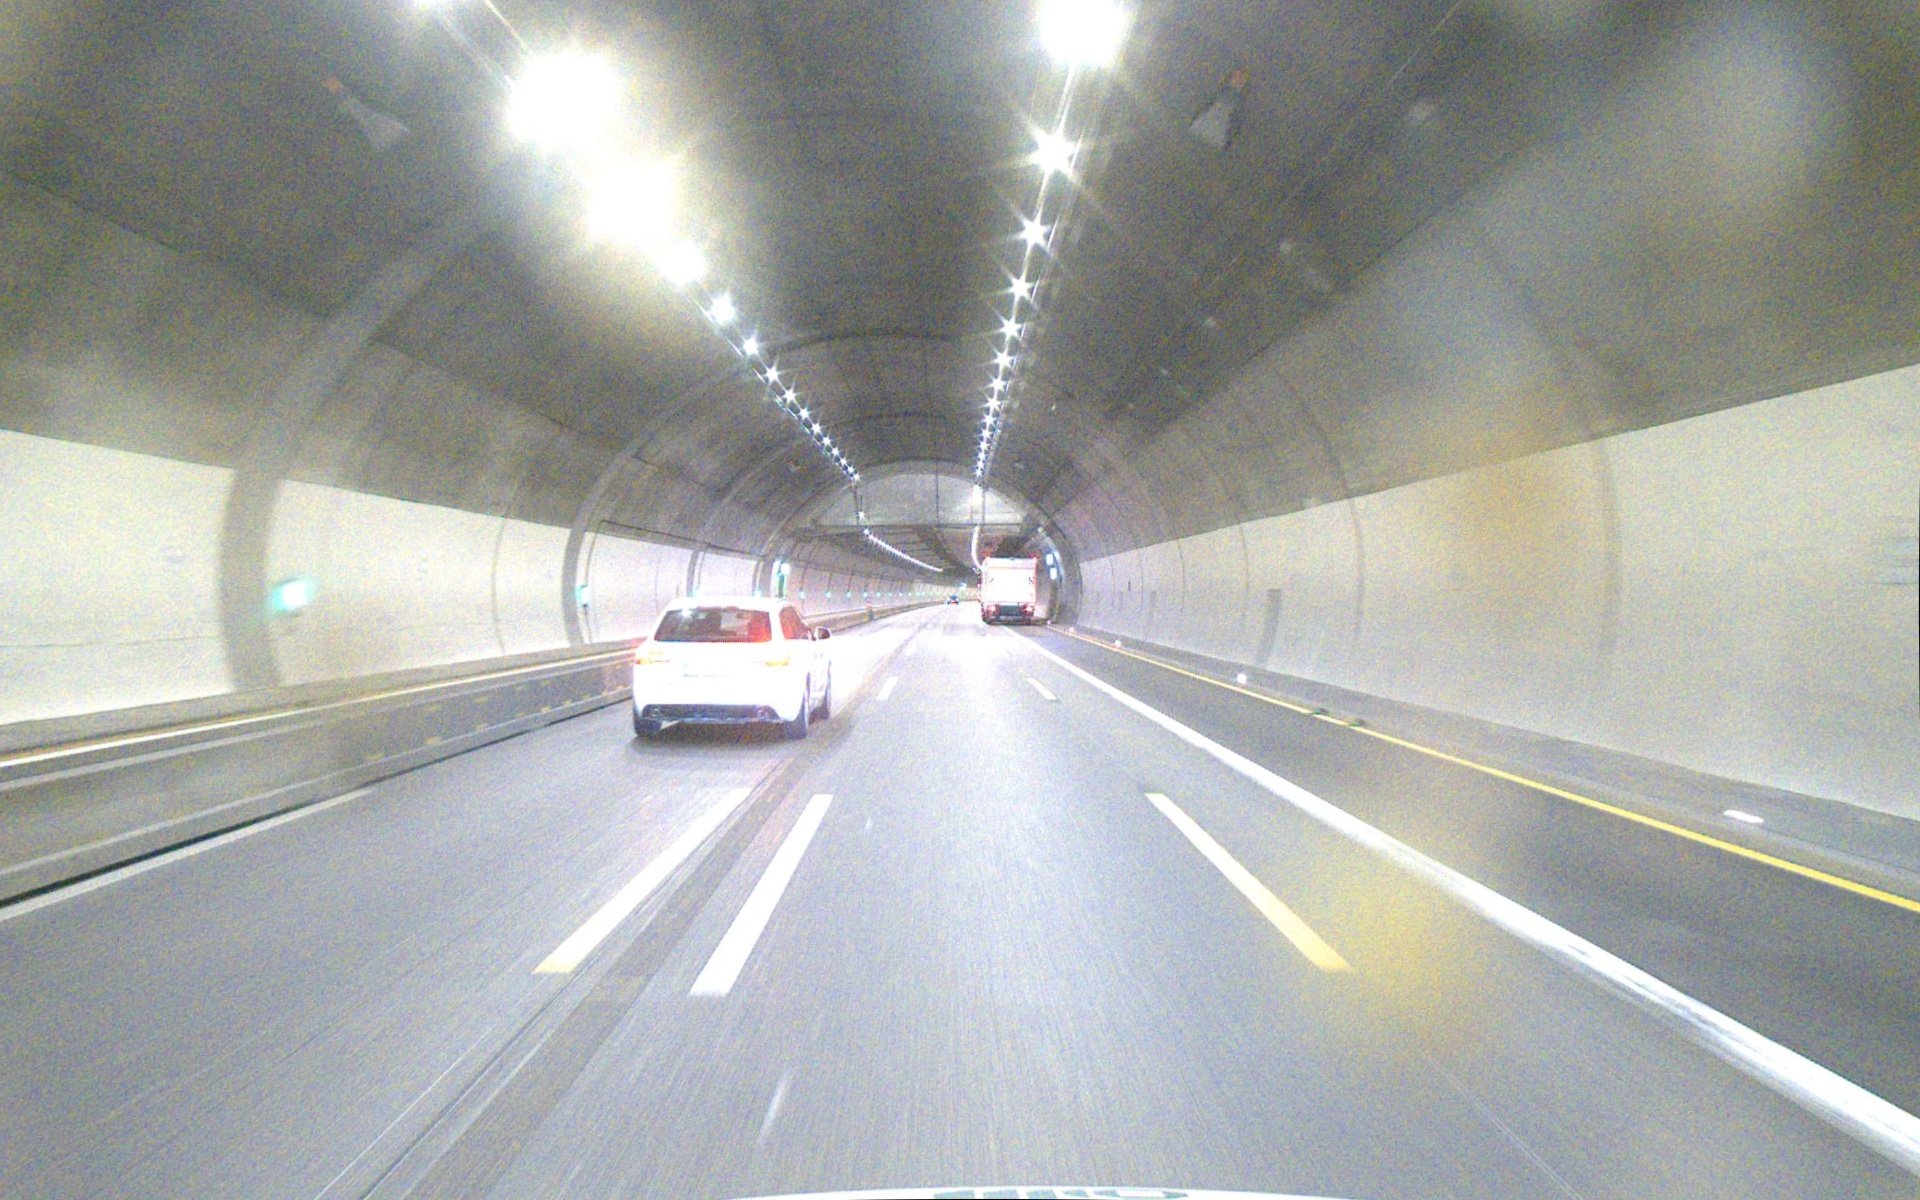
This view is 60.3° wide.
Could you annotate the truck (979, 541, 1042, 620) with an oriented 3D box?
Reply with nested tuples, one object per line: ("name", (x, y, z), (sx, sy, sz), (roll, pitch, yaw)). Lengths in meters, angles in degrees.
("truck", (2.621, -0.952, 89.462), (3.029, 3.986, 10.366), (-1, -1, 0))

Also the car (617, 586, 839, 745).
("car", (-2.425, 0.641, 18.496), (1.865, 1.511, 4.942), (1, 0, -1))

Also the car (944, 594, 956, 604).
("car", (-1.408, -0.140, 241.554), (1.723, 1.486, 4.118), (-1, 1, 0))
